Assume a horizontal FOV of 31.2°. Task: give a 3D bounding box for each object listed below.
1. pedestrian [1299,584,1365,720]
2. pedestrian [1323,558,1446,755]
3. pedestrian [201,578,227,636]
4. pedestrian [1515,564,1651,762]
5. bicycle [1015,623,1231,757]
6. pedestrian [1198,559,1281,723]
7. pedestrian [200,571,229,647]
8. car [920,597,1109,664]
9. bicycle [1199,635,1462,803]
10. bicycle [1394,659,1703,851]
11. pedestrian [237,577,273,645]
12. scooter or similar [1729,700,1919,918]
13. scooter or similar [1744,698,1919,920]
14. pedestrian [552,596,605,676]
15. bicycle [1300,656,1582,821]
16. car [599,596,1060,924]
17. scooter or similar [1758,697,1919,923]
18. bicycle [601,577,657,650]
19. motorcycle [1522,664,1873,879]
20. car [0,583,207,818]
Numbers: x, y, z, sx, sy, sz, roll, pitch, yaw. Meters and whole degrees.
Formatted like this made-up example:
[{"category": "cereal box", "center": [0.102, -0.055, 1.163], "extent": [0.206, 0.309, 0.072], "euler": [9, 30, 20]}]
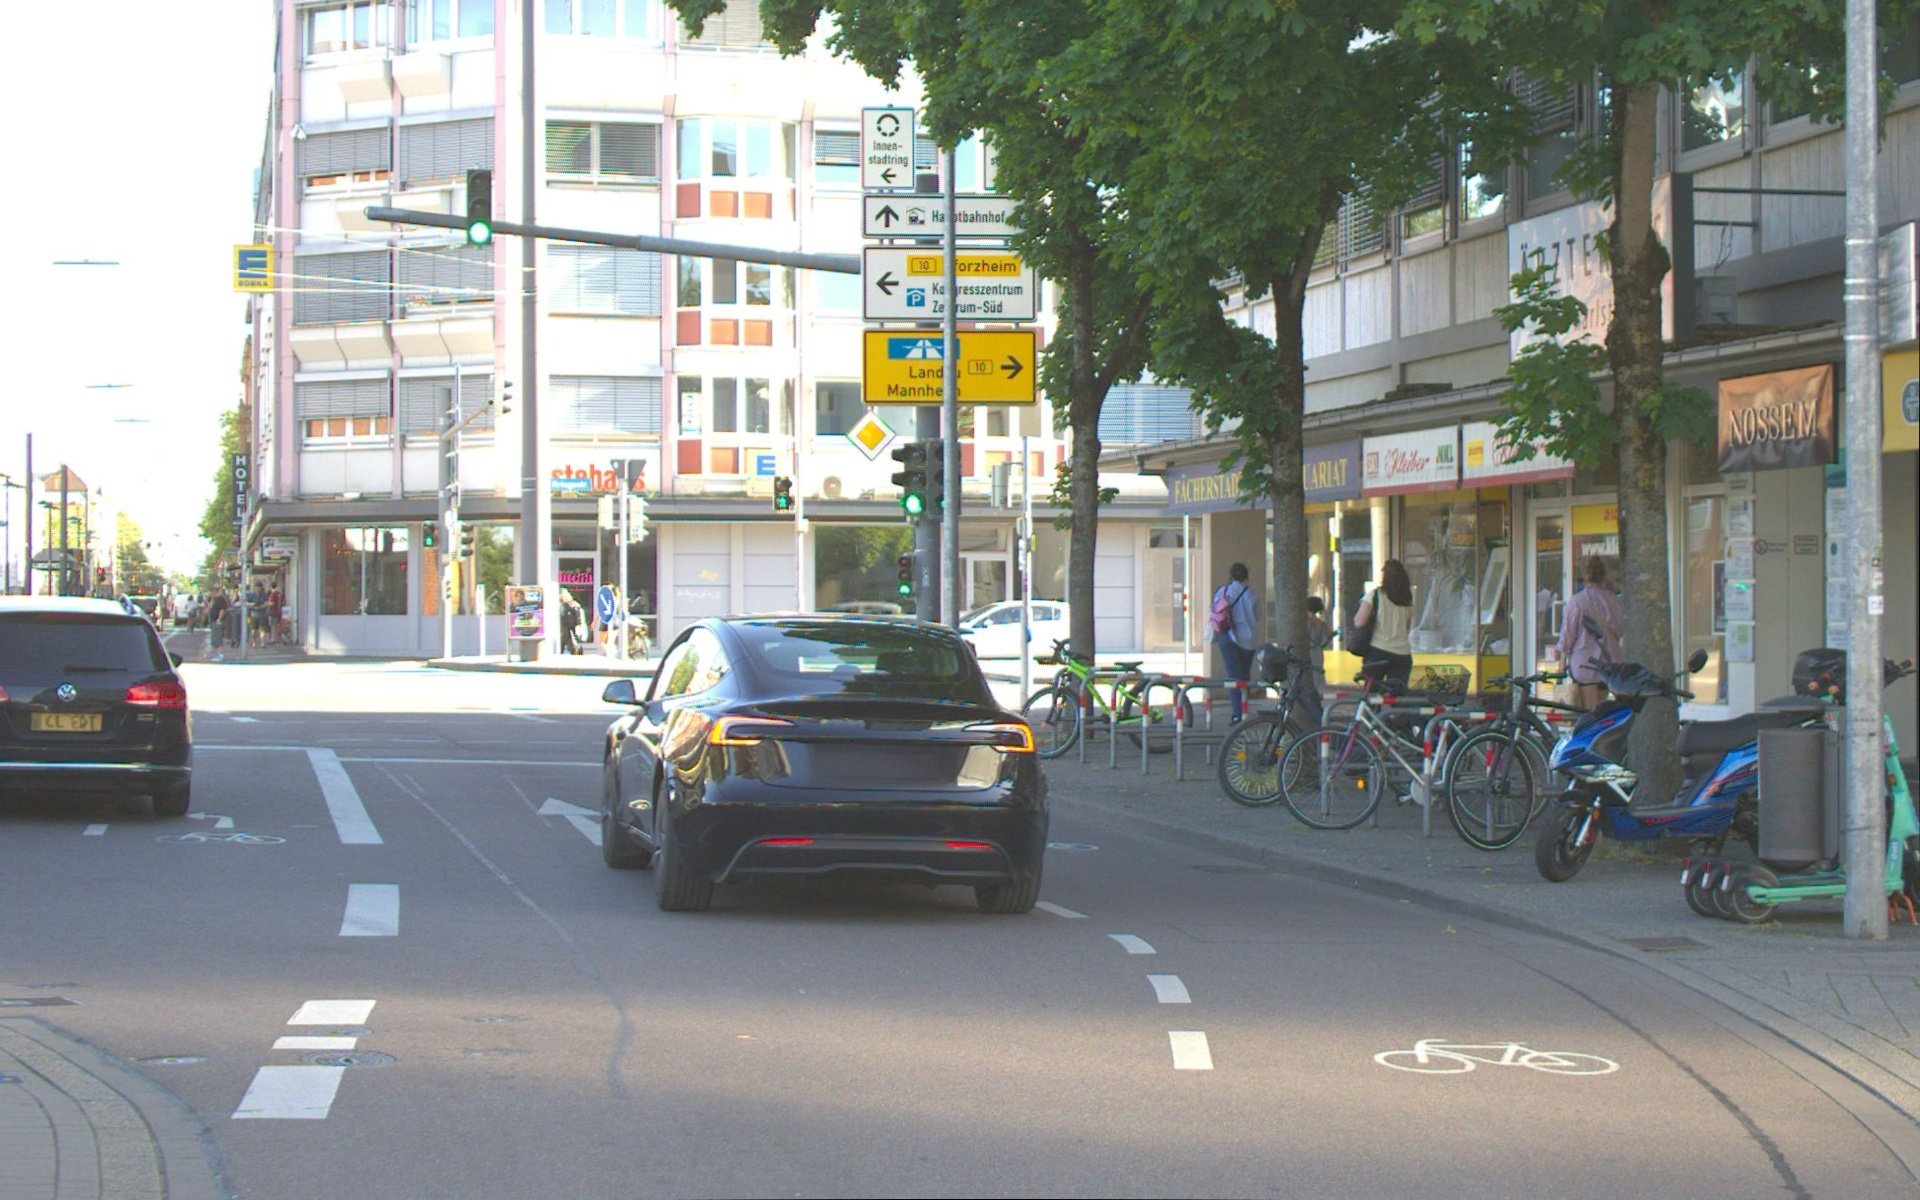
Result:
[{"category": "pedestrian", "center": [3.921, 0.542, 36.178], "extent": [0.645, 1.417, 0.621], "euler": [0, 0, 10]}, {"category": "pedestrian", "center": [3.721, 0.490, 30.169], "extent": [0.842, 1.701, 0.880], "euler": [0, 0, -10]}, {"category": "pedestrian", "center": [-20.134, 0.188, 92.825], "extent": [0.471, 1.557, 0.545], "euler": [1, -1, -39]}, {"category": "pedestrian", "center": [5.107, 0.512, 28.223], "extent": [0.842, 1.597, 0.880], "euler": [0, 0, -10]}, {"category": "bicycle", "center": [1.494, 0.817, 31.531], "extent": [1.889, 1.152, 0.480], "euler": [-2, 0, -9]}, {"category": "pedestrian", "center": [2.956, 0.427, 36.452], "extent": [0.843, 1.715, 0.880], "euler": [0, 0, 3]}, {"category": "pedestrian", "center": [-17.629, 0.205, 81.295], "extent": [0.626, 1.776, 0.918], "euler": [0, 0, -14]}, {"category": "car", "center": [1.196, 0.673, 76.072], "extent": [3.839, 1.427, 1.804], "euler": [0, -2, -15]}, {"category": "bicycle", "center": [2.639, 0.835, 24.469], "extent": [1.809, 1.148, 0.435], "euler": [-1, 0, -14]}, {"category": "bicycle", "center": [3.521, 0.911, 20.525], "extent": [1.849, 1.052, 0.399], "euler": [-2, 0, -21]}, {"category": "pedestrian", "center": [-18.471, 0.287, 90.103], "extent": [0.914, 1.748, 0.839], "euler": [0, 0, -11]}, {"category": "scooter or similar", "center": [4.194, 1.000, 16.529], "extent": [0.963, 1.023, 0.160], "euler": [0, 0, -7]}, {"category": "scooter or similar", "center": [4.217, 0.990, 16.340], "extent": [0.956, 1.035, 0.160], "euler": [0, 0, -7]}, {"category": "pedestrian", "center": [-7.643, 0.718, 68.864], "extent": [0.779, 1.571, 0.868], "euler": [1, 1, -25]}, {"category": "bicycle", "center": [3.138, 0.901, 22.488], "extent": [1.767, 1.053, 0.458], "euler": [0, 0, -4]}, {"category": "car", "center": [-0.783, 0.724, 17.544], "extent": [1.790, 1.446, 3.941], "euler": [0, 0, -10]}, {"category": "scooter or similar", "center": [4.241, 0.982, 16.144], "extent": [0.963, 1.039, 0.160], "euler": [0, 0, -7]}, {"category": "bicycle", "center": [-6.701, 0.261, 69.602], "extent": [0.582, 1.458, 1.686], "euler": [0, 0, -25]}, {"category": "motorcycle", "center": [3.965, 0.913, 18.498], "extent": [1.786, 1.126, 0.504], "euler": [0, 0, -10]}, {"category": "car", "center": [-6.372, 0.617, 23.646], "extent": [1.764, 1.439, 4.530], "euler": [0, 0, -20]}]
